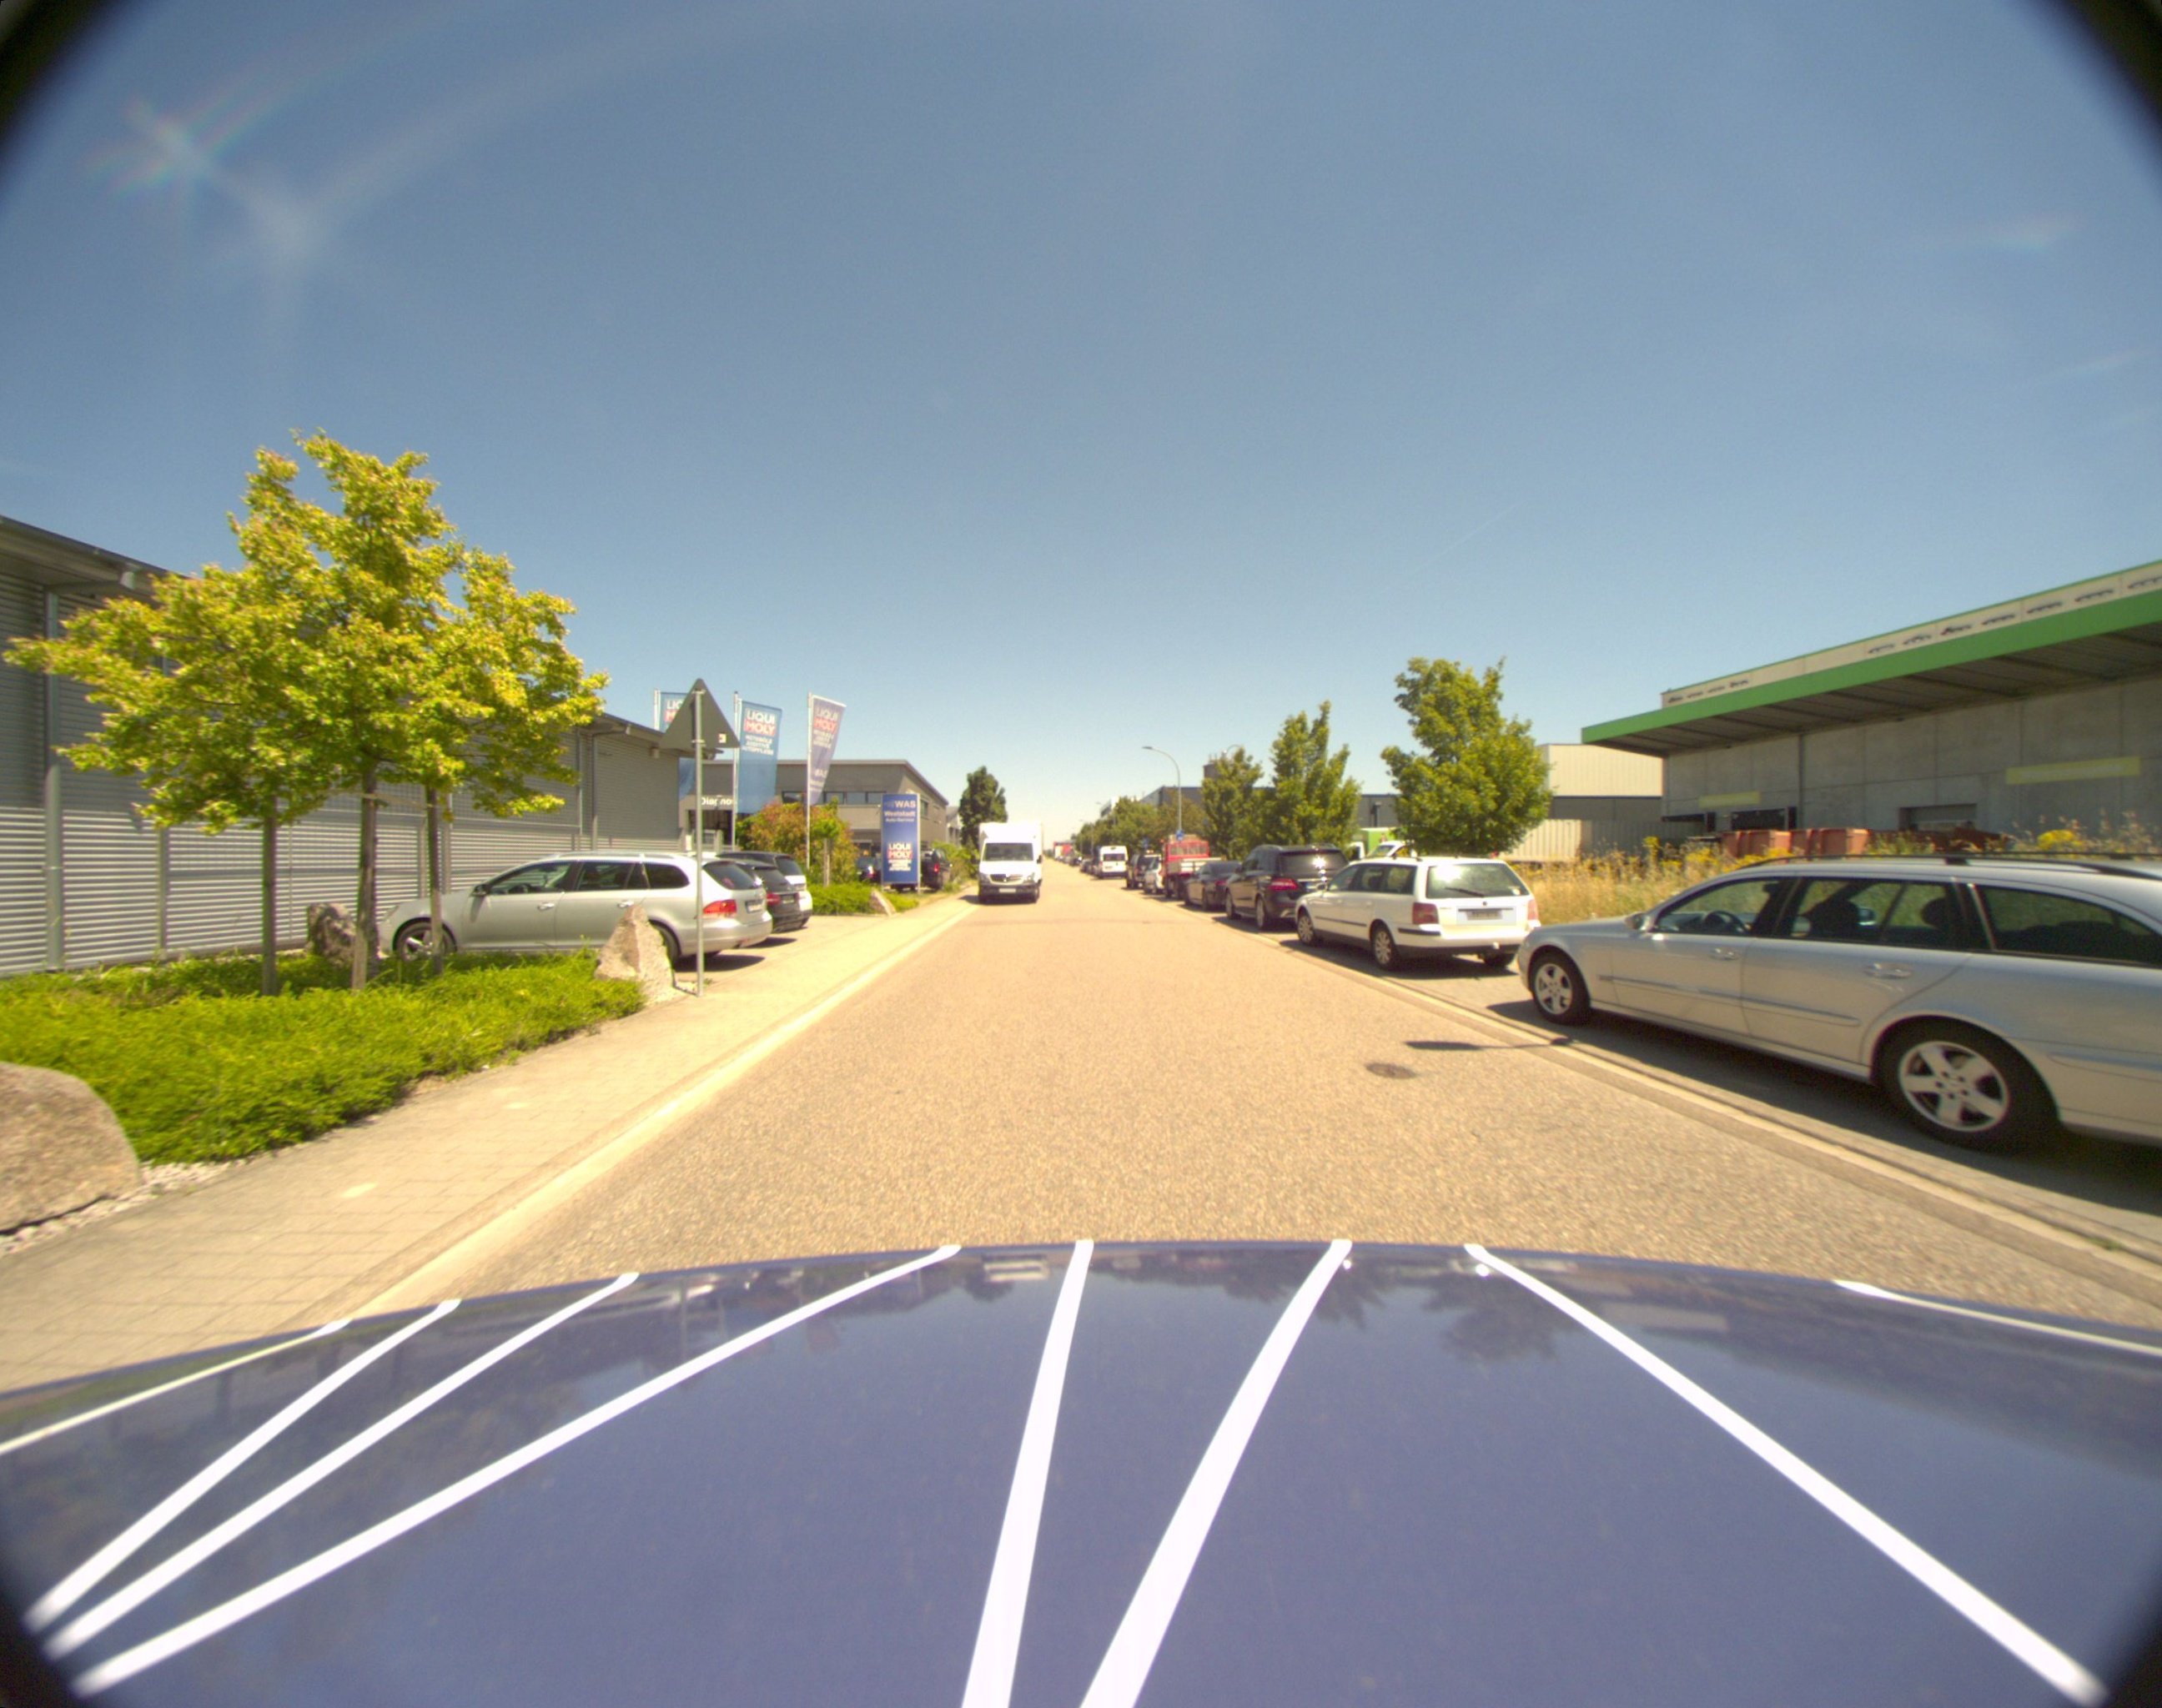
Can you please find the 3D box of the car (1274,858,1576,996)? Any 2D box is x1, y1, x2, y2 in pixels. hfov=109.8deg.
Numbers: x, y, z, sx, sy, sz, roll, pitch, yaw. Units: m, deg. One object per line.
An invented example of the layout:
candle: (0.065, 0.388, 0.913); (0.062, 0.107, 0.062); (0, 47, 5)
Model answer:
car: (4.597, 0.840, 11.182); (1.857, 1.510, 4.902); (-2, 0, -5)

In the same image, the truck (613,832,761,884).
truck: (-18.842, 0.175, 36.549); (5.949, 2.356, 2.180); (1, 1, -2)

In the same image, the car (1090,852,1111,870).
car: (1.913, 0.681, 76.576); (1.836, 1.800, 4.082); (-2, 0, -2)

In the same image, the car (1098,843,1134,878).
car: (2.672, 0.508, 59.881); (2.329, 2.583, 6.084); (-2, 0, -2)

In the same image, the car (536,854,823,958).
car: (-6.449, 0.797, 12.544); (3.702, 1.532, 1.913); (1, 0, -1)

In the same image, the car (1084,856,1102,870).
car: (1.347, 1.035, 88.890); (1.799, 1.477, 4.450); (-2, 0, -3)

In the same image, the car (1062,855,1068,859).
car: (-5.026, 0.977, 235.444); (1.799, 1.319, 3.830); (-2, 0, -3)

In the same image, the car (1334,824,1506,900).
car: (13.945, 0.311, 31.529); (5.991, 2.908, 2.520); (-1, 0, -3)

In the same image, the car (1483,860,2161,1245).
car: (5.180, 0.832, 5.082); (1.857, 1.510, 5.164); (-2, 0, -5)

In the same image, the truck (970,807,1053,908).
truck: (-2.342, 0.111, 27.584); (2.464, 3.186, 6.881); (0, 0, -1)

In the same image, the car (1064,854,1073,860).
car: (-2.932, 0.750, 173.241); (1.799, 1.319, 3.830); (-2, 0, -3)

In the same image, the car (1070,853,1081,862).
car: (-1.040, 0.649, 142.392); (1.799, 1.701, 3.830); (-2, 0, -3)

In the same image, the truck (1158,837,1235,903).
truck: (4.150, 0.544, 28.099); (1.856, 2.209, 4.644); (-2, 0, -3)

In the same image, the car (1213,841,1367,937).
car: (4.353, 0.661, 16.755); (1.856, 1.748, 4.986); (-2, 0, -2)

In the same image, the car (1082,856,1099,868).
car: (1.146, 0.965, 94.869); (1.799, 1.477, 4.188); (-2, 0, -4)

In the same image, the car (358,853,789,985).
car: (-6.337, 0.784, 9.976); (4.292, 1.532, 1.912); (1, 0, -6)

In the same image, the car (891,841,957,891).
car: (-6.814, 0.491, 33.549); (1.999, 2.002, 5.335); (0, 0, -2)

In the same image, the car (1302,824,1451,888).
car: (13.786, 0.072, 35.721); (5.991, 2.808, 2.520); (-1, 0, -3)

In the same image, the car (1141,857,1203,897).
car: (3.819, 0.921, 32.464); (1.857, 1.542, 3.765); (-2, 0, -5)

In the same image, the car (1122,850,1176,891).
car: (3.386, 0.773, 38.981); (1.979, 1.889, 5.401); (-2, 0, -3)

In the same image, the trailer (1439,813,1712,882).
trailer: (30.992, -0.400, 47.981); (15.362, 4.064, 3.218); (1, 0, -2)

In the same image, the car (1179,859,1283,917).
car: (4.218, 0.897, 22.173); (1.856, 1.435, 4.752); (-2, 0, -3)

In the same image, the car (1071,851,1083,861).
car: (-0.725, 0.380, 130.772); (1.799, 1.638, 3.829); (1, 0, -3)

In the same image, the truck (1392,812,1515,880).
truck: (23.270, -0.469, 47.685); (6.122, 4.064, 3.218); (1, 0, -2)

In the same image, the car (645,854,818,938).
car: (-6.762, 0.784, 14.886); (2.713, 1.532, 1.412); (1, 0, -1)
